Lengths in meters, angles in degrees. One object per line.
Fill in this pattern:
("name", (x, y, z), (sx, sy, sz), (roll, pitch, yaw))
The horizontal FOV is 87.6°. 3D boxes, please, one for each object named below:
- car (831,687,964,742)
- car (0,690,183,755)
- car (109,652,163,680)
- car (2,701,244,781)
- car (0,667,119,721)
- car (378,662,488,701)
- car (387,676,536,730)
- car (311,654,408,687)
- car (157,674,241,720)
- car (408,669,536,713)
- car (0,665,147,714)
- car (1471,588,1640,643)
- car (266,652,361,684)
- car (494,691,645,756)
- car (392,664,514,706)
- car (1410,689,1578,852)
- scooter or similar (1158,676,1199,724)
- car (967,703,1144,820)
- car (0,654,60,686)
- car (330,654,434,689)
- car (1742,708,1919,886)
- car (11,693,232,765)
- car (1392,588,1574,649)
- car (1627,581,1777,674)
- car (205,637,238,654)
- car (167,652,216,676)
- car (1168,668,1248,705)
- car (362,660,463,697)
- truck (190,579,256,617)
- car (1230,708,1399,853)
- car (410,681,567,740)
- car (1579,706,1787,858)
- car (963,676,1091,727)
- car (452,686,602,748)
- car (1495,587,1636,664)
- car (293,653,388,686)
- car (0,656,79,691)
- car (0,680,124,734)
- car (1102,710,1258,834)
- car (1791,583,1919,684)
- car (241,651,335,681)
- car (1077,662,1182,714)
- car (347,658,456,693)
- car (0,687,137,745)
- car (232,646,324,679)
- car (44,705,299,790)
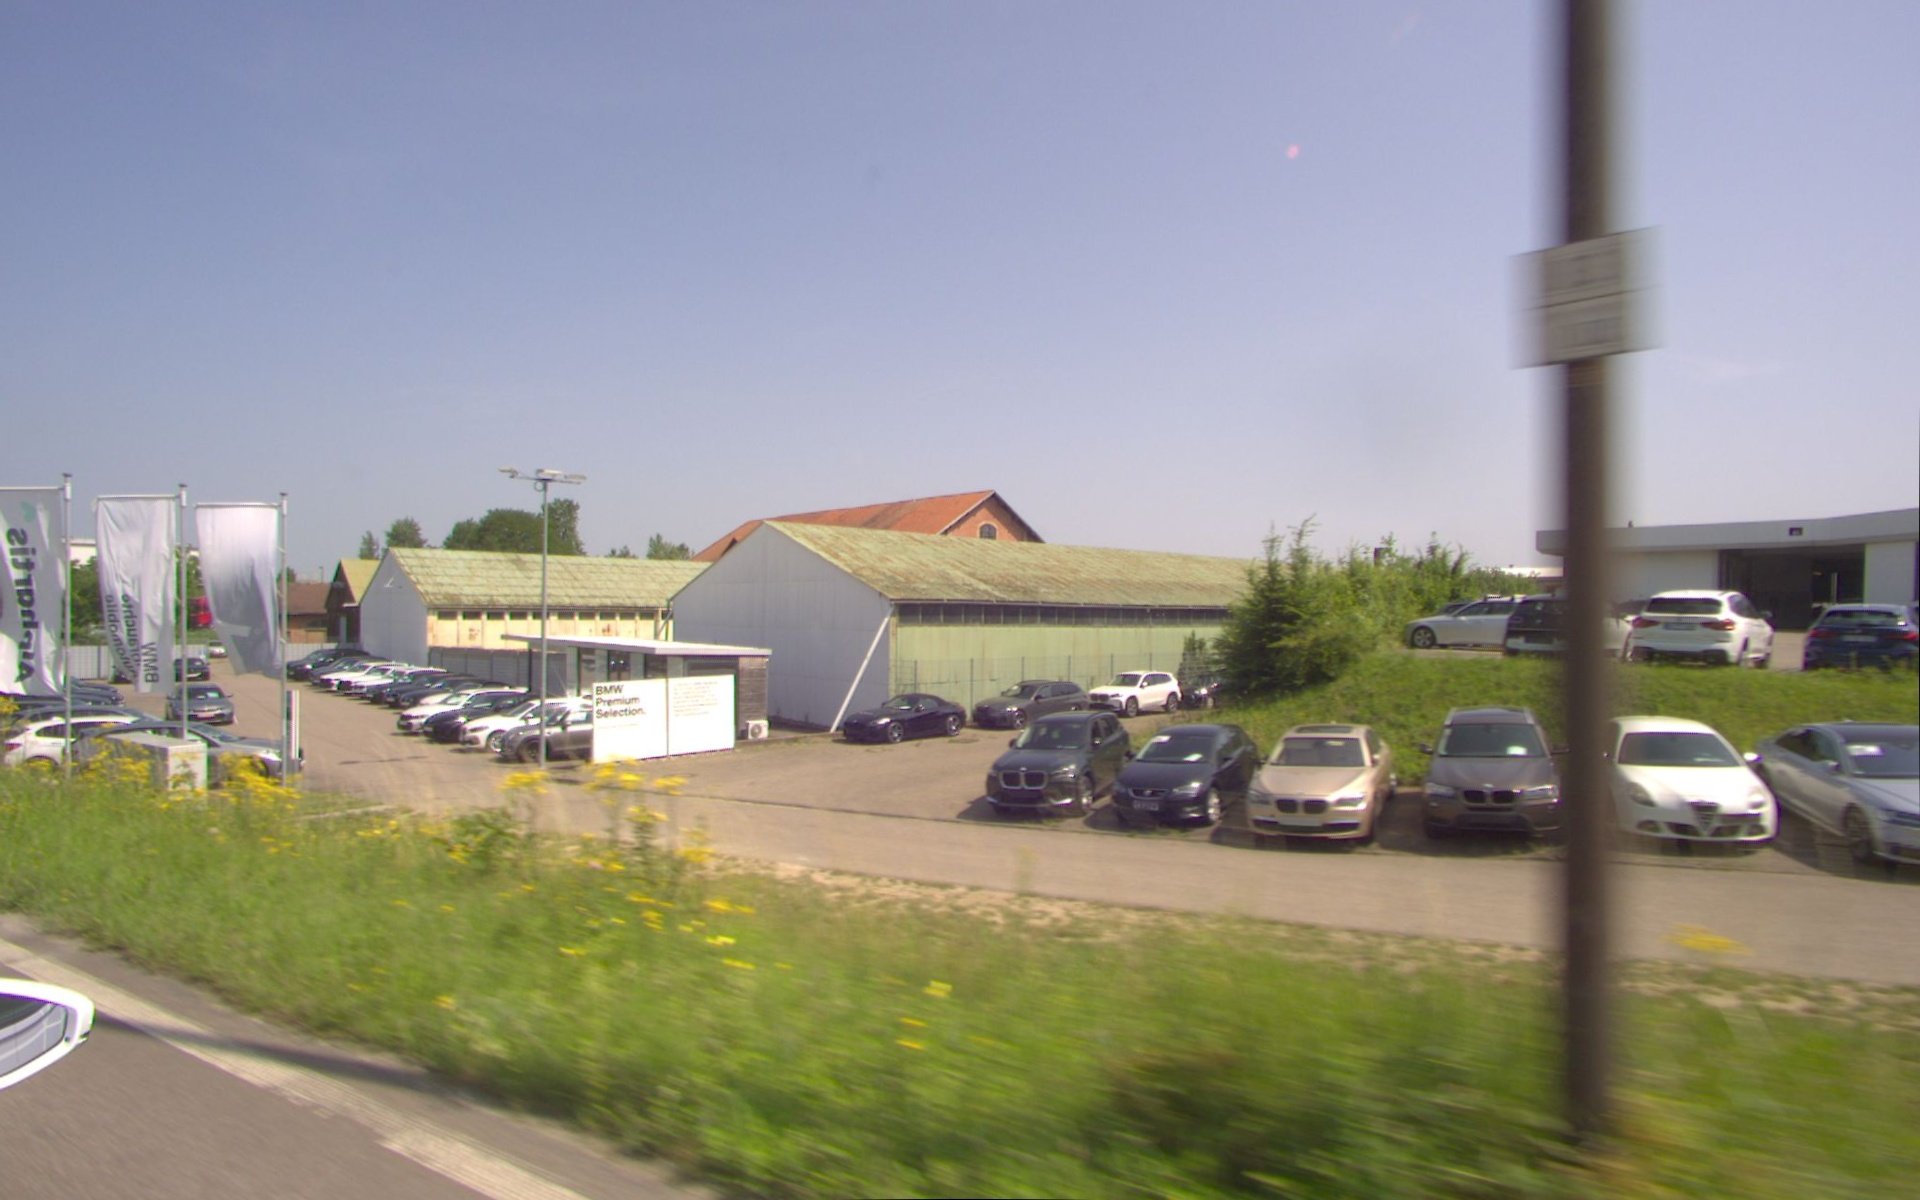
("car", (-1.856, 3.434, 30.561), (3.915, 1.393, 1.702), (2, -3, -45))
("car", (-24.550, 3.379, 28.023), (4.110, 1.542, 1.848), (1, -2, -28))
("car", (-50.365, 3.985, 61.290), (1.831, 1.554, 4.619), (1, -2, -31))
("car", (-19.739, 3.297, 23.874), (4.110, 1.542, 1.744), (1, -2, -28))
("car", (-33.604, 3.381, 36.184), (4.569, 1.723, 1.850), (1, 0, -24))
("car", (-24.413, 3.764, 46.567), (1.769, 1.542, 4.311), (-1, -1, 27))
("car", (-17.759, 3.636, 35.835), (1.908, 1.542, 4.409), (-1, -1, 38))
("car", (-33.026, 3.856, 55.165), (1.879, 1.543, 4.328), (1, -1, 22))
("car", (-29.332, 3.662, 38.527), (2.121, 1.476, 4.490), (2, -3, -43))
("car", (-20.418, 3.767, 42.100), (1.902, 1.542, 4.602), (-1, -1, 27))
("car", (-35.194, 3.507, 39.685), (4.164, 1.723, 1.914), (1, 0, -20))
("car", (18.849, 0.462, 31.834), (1.902, 1.617, 4.266), (0, 0, -41))
("car", (-37.542, 3.934, 58.263), (1.879, 1.596, 4.328), (1, -1, 22))
("car", (-10.998, 3.413, 28.214), (3.749, 1.542, 1.743), (1, -2, -30))
("car", (-22.283, 3.691, 44.204), (1.902, 1.542, 4.602), (-1, -1, 27))
("car", (8.308, 2.499, 15.721), (1.970, 1.771, 4.244), (-3, 0, 27))
("scooter or similar", (6.573, 2.980, 30.083), (0.613, 1.330, 1.972), (-1, -2, 31))
("car", (1.987, 2.979, 19.380), (2.112, 1.660, 4.484), (-2, -2, 23))
("car", (-50.687, 3.686, 52.671), (4.571, 1.518, 1.849), (1, 0, -26))
("car", (-30.728, 3.772, 53.375), (1.879, 1.543, 4.602), (1, -1, 22))
("car", (12.423, 2.454, 13.259), (1.890, 1.484, 4.425), (-3, 0, 19))
("car", (-21.687, 3.304, 26.146), (4.111, 1.542, 1.848), (1, -2, -29))
("car", (14.935, 0.497, 28.788), (1.902, 1.617, 4.266), (0, 0, -41))
("car", (15.696, 0.524, 21.094), (4.423, 1.770, 1.821), (0, 0, -44))
("car", (-64.752, 3.990, 87.850), (1.972, 1.416, 3.979), (1, -2, -31))
("car", (-48.075, 3.978, 62.695), (1.972, 1.416, 3.979), (1, -2, -31))
("car", (10.370, 3.593, 41.787), (3.664, 1.370, 1.575), (2, -3, -44))
("car", (-26.414, 3.760, 48.441), (1.731, 1.542, 3.995), (-1, -1, 27))
("truck", (-85.153, -0.133, 115.870), (2.835, 4.081, 6.724), (0, -2, -2))
("car", (6.031, 2.812, 16.641), (1.970, 1.527, 4.762), (-3, -1, 27))
("car", (-15.551, 3.590, 33.234), (1.905, 1.543, 4.416), (-1, -1, 33))
("car", (10.568, 2.550, 14.972), (1.845, 1.484, 4.244), (-3, -1, 27))
("car", (2.356, 3.417, 34.296), (4.418, 1.490, 1.963), (2, -3, -45))
("car", (-13.160, 3.511, 30.526), (3.922, 1.542, 1.739), (1, -2, -37))
("car", (13.517, 0.529, 22.283), (3.849, 1.553, 1.751), (0, 0, -44))
("car", (-35.072, 3.901, 56.844), (1.879, 1.596, 4.328), (1, -1, 22))
("car", (-45.889, 3.544, 48.416), (4.576, 1.625, 1.848), (1, -1, -29))
("car", (-29.797, 3.401, 31.826), (4.571, 1.542, 1.850), (1, -2, -26))
("car", (4.059, 2.958, 17.970), (1.967, 1.572, 3.989), (-3, -1, 23))
("car", (17.791, 0.592, 19.637), (4.423, 1.770, 1.821), (0, 0, -44))
("car", (-39.836, 3.866, 59.433), (1.879, 1.543, 4.328), (1, -1, 22))
("car", (6.552, 3.317, 38.424), (4.277, 1.752, 1.903), (2, -3, -45))
("car", (-28.515, 3.822, 51.280), (1.882, 1.542, 4.644), (-1, -1, 27))
("car", (-27.423, 3.436, 29.858), (4.110, 1.542, 1.848), (1, -2, -28))
("car", (-41.449, 3.761, 60.952), (1.879, 1.828, 4.328), (1, -1, 22))
("car", (-17.281, 3.193, 22.213), (4.105, 1.542, 1.685), (1, -2, -24))
